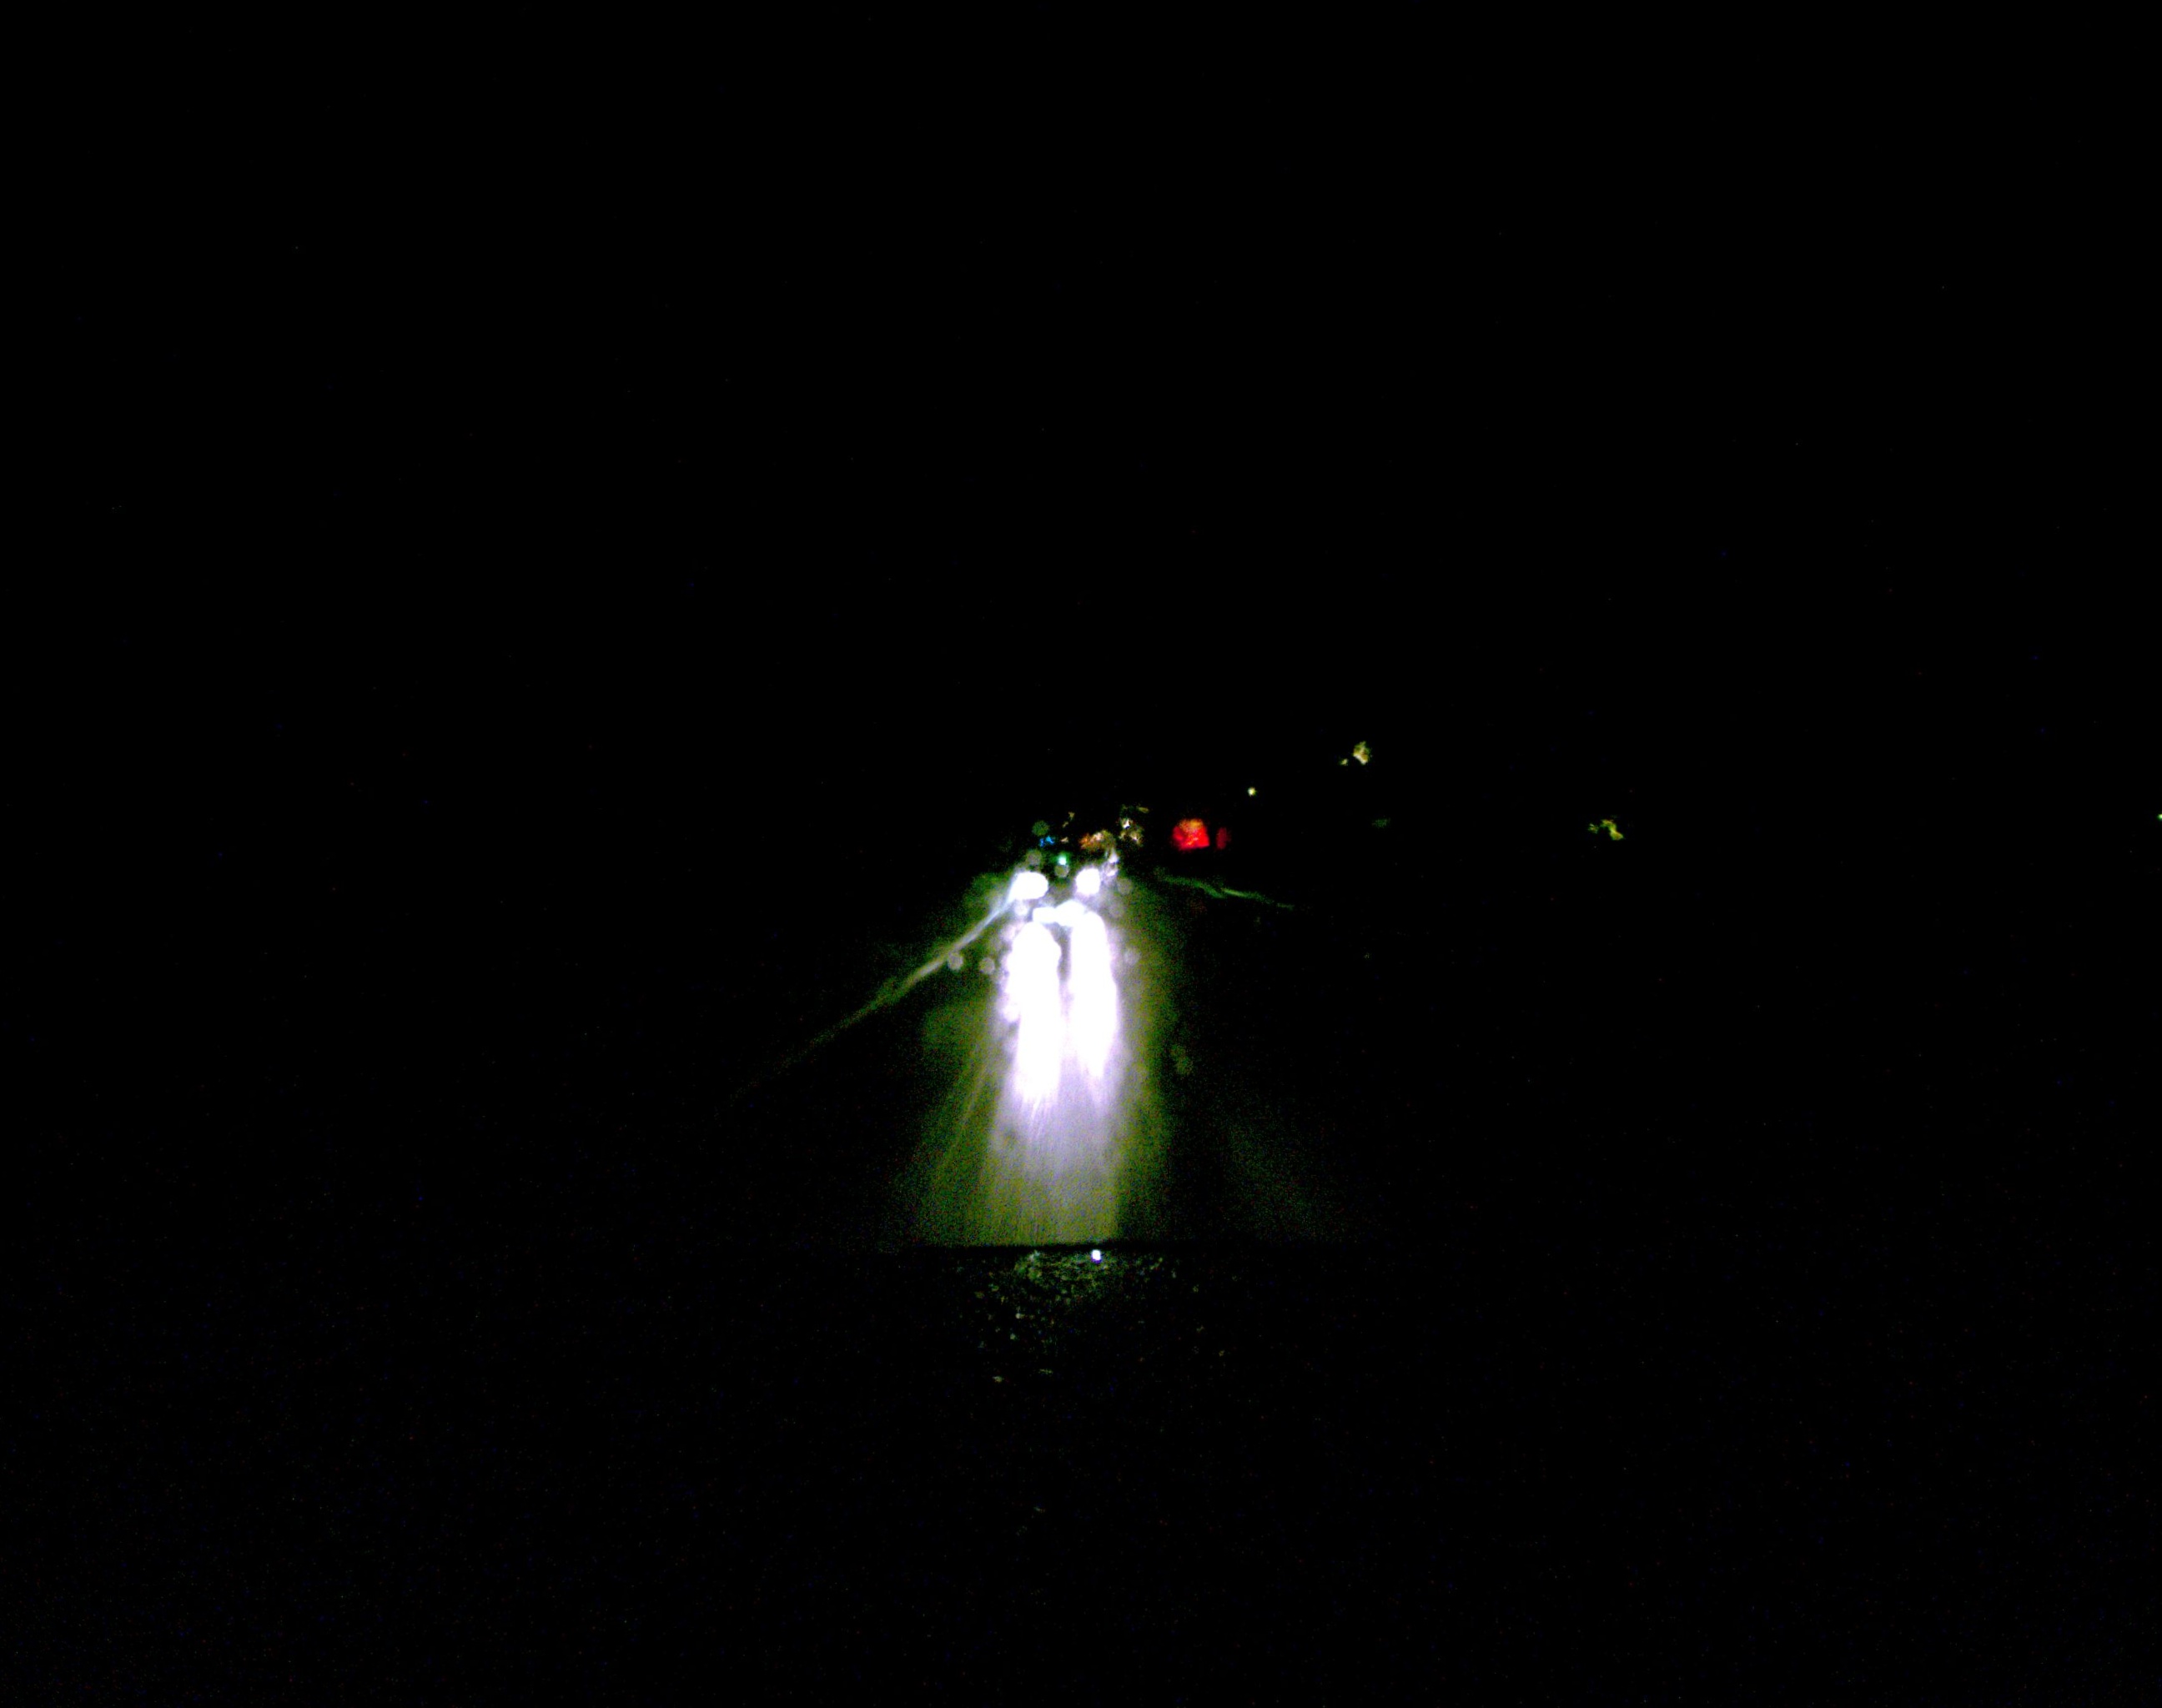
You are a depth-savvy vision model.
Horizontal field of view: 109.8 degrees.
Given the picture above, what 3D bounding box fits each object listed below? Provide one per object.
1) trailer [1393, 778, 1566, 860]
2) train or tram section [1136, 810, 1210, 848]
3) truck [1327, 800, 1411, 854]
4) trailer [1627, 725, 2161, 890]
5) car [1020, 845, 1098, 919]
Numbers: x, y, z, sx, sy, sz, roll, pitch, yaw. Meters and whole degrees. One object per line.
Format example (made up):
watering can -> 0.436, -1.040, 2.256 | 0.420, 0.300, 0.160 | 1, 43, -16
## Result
trailer -> 28.741, -2.411, 56.344 | 3.982, 4.984, 14.827 | -5, 2, -3
train or tram section -> 10.988, -3.028, 98.044 | 2.704, 3.793, 37.125 | -5, 2, -3
truck -> 27.563, -2.504, 73.427 | 3.448, 4.584, 10.207 | -5, 2, -3
trailer -> 29.830, -1.540, 30.285 | 3.982, 4.584, 15.506 | -5, 2, -3
car -> -0.637, 0.661, 20.372 | 1.791, 1.684, 4.217 | -3, 0, -3
